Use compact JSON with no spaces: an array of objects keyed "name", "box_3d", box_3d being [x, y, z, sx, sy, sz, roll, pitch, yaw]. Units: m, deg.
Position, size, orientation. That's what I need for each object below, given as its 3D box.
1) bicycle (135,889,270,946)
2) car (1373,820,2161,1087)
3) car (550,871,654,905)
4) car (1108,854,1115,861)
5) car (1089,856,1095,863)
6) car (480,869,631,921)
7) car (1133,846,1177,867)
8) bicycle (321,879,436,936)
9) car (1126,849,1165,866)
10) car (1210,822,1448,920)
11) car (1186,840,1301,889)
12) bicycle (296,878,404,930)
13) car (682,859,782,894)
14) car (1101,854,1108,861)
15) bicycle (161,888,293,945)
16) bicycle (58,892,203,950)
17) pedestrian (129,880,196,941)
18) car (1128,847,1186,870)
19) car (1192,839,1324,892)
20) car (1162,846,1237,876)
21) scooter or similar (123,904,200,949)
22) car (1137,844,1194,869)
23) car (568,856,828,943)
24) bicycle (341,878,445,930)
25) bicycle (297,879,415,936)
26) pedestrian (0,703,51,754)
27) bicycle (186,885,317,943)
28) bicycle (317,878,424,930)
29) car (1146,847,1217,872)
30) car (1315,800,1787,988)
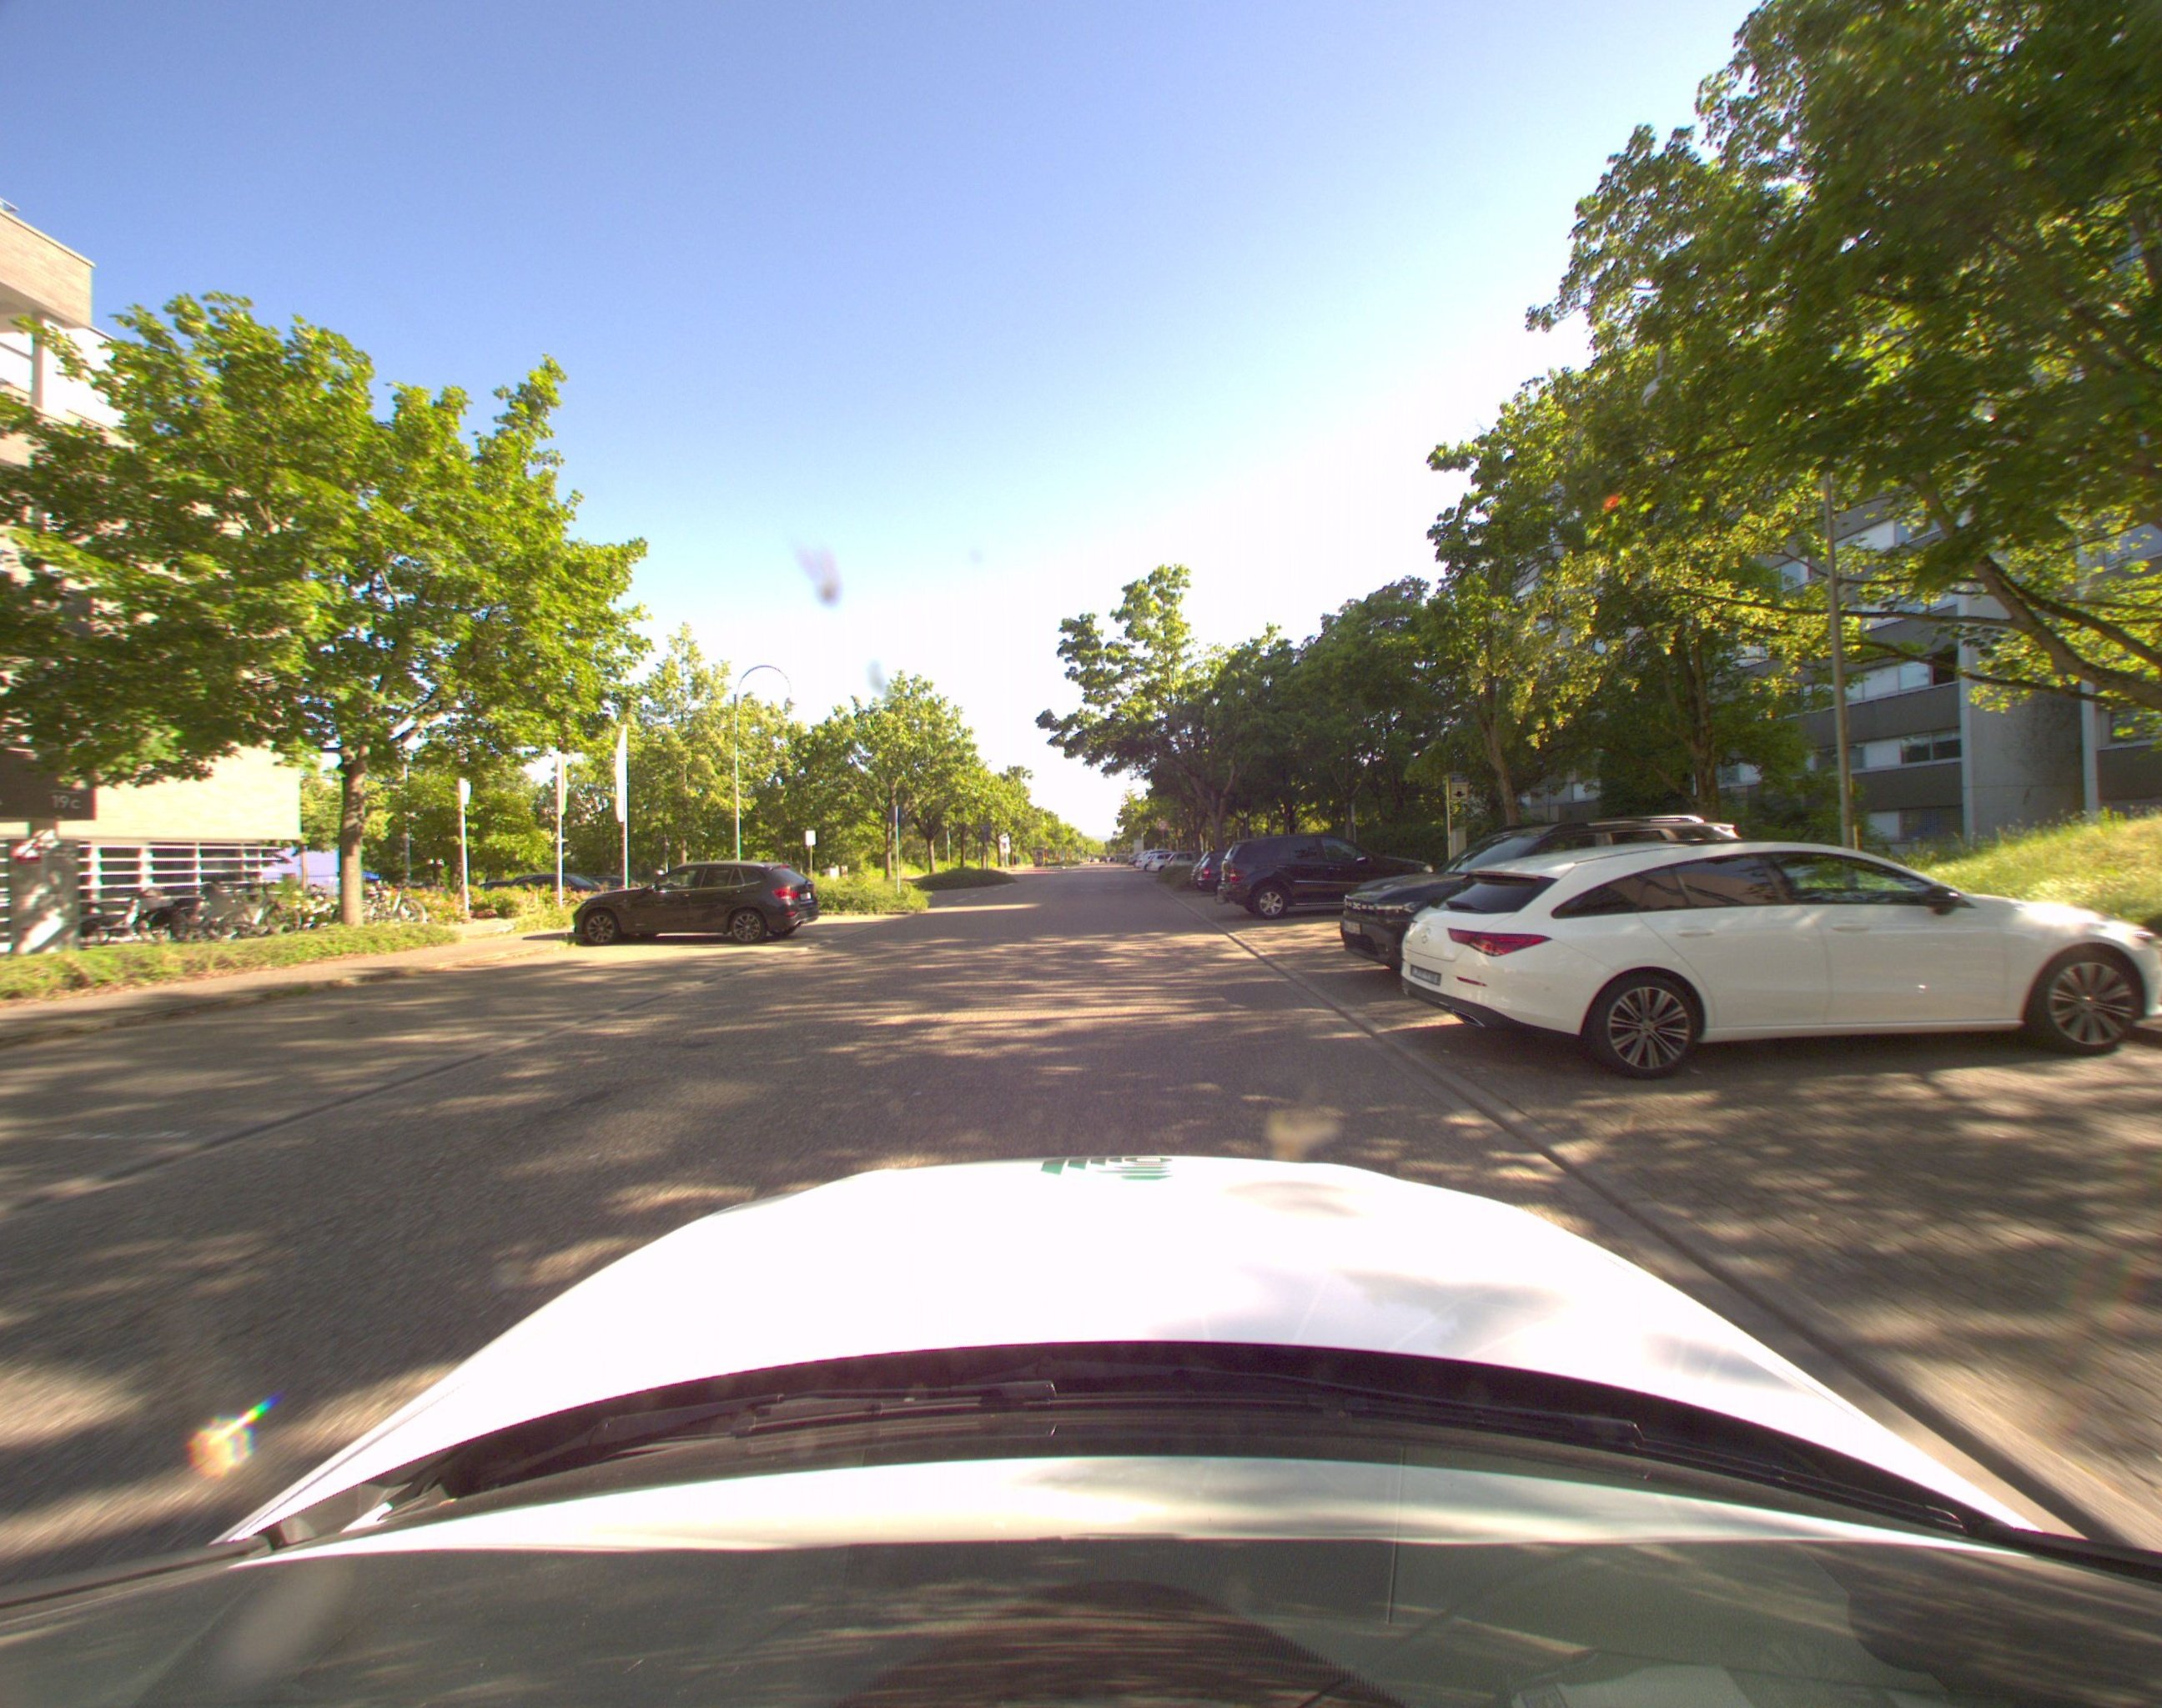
[{"name":"bicycle","box_3d":[-18.626,1.312,17.352,0.435,1.047,2.194,-1,0,2]},{"name":"car","box_3d":[4.635,0.597,5.843,4.428,1.545,1.817,-1,0,0]},{"name":"car","box_3d":[-23.949,1.680,40.833,4.040,1.472,1.831,-3,0,1]},{"name":"car","box_3d":[9.103,0.914,241.705,1.986,2.013,4.002,-1,0,2]},{"name":"car","box_3d":[3.115,1.534,231.183,1.821,1.775,3.742,-1,0,2]},{"name":"car","box_3d":[-19.442,1.479,30.253,4.306,1.619,1.895,-3,0,3]},{"name":"car","box_3d":[6.534,0.193,71.836,3.677,1.522,1.650,-4,0,0]},{"name":"bicycle","box_3d":[-14.638,1.076,17.061,0.435,1.047,2.194,-1,0,2]},{"name":"car","box_3d":[7.003,0.371,88.658,4.149,1.428,2.001,-4,0,1]},{"name":"car","box_3d":[5.309,0.350,17.932,4.570,1.779,2.001,-3,0,1]},{"name":"car","box_3d":[5.911,0.364,29.924,3.798,1.499,1.700,-4,0,-2]},{"name":"bicycle","box_3d":[-16.655,1.100,18.639,0.435,1.047,2.194,-1,0,2]},{"name":"car","box_3d":[-16.999,1.081,39.772,4.060,1.451,1.626,-3,0,3]},{"name":"car","box_3d":[6.688,1.017,234.089,1.986,2.013,4.002,-1,0,2]},{"name":"bicycle","box_3d":[-18.092,1.292,17.340,0.435,1.047,2.194,-1,0,2]},{"name":"bicycle","box_3d":[-20.101,1.389,17.308,0.435,1.047,2.194,-1,0,2]},{"name":"pedestrian","box_3d":[-21.507,1.311,19.081,0.665,1.361,0.745,-2,0,3]},{"name":"car","box_3d":[5.974,0.348,64.299,4.329,1.489,1.738,-4,0,0]},{"name":"car","box_3d":[5.831,0.361,27.142,3.972,1.387,1.823,-4,0,1]},{"name":"car","box_3d":[6.590,0.378,45.567,3.972,1.451,1.718,-3,0,1]},{"name":"scooter or similar","box_3d":[-21.517,1.687,19.076,0.799,0.954,0.869,-1,0,4]},{"name":"car","box_3d":[6.886,0.194,66.983,4.421,1.647,1.816,-4,0,0]},{"name":"car","box_3d":[-7.308,0.837,15.829,4.176,1.520,1.773,-1,0,2]},{"name":"bicycle","box_3d":[-15.646,1.104,18.592,0.435,1.047,2.194,-1,0,2]},{"name":"bicycle","box_3d":[-15.119,1.085,17.063,0.435,1.047,2.194,-1,0,2]},{"name":"pedestrian","box_3d":[-18.082,-2.123,13.821,0.680,0.798,0.362,-1,0,-6]},{"name":"bicycle","box_3d":[-17.285,1.217,17.051,0.435,1.047,2.194,-1,0,2]},{"name":"bicycle","box_3d":[-16.163,1.101,18.612,0.435,1.047,2.194,-1,0,2]},{"name":"car","box_3d":[6.186,0.327,50.171,4.252,1.428,1.831,-1,0,6]},{"name":"car","box_3d":[4.904,0.407,8.916,4.105,1.618,1.733,-3,-1,-1]}]
